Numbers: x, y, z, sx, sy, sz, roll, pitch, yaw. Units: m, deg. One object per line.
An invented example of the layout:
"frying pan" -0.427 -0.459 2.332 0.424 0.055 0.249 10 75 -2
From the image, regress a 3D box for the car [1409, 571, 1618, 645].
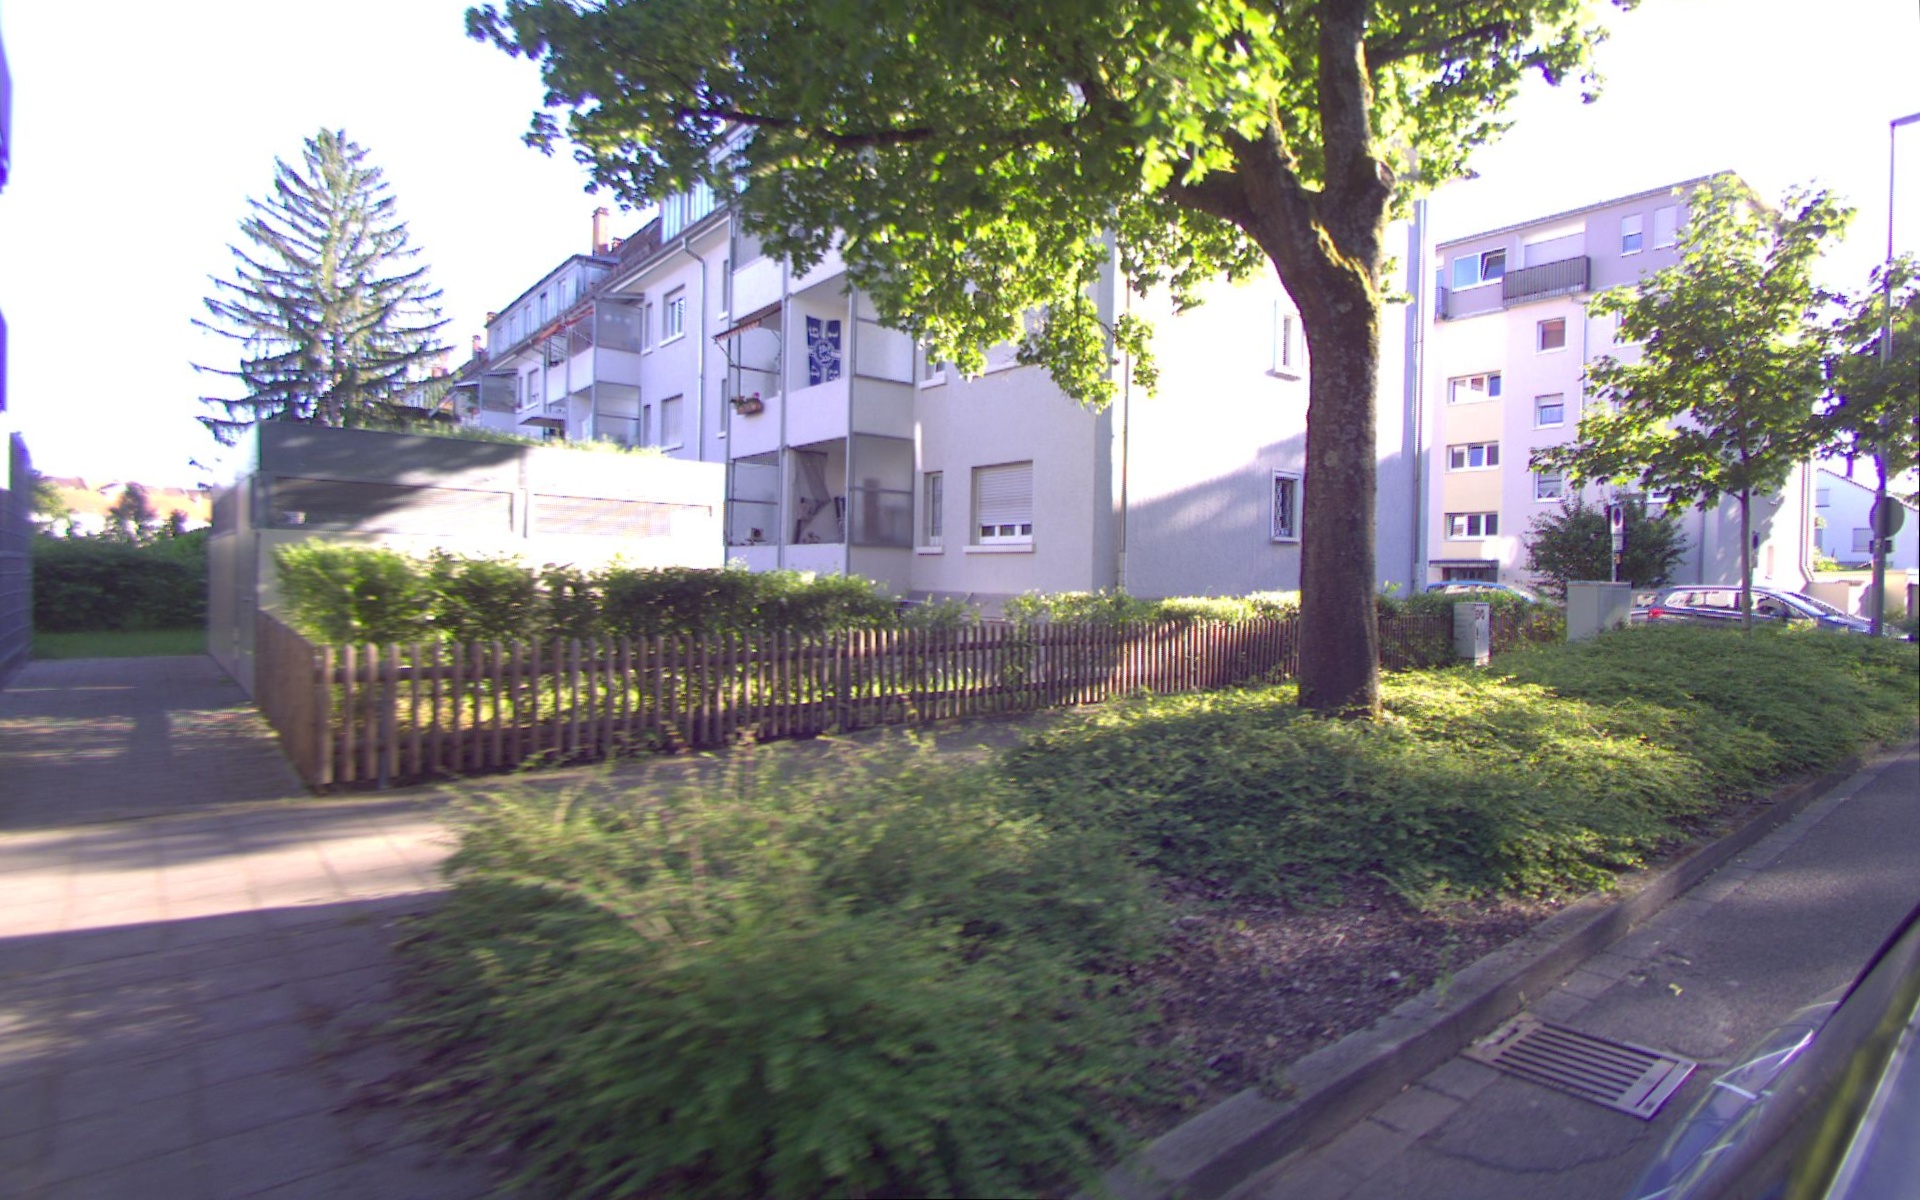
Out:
"car" 13.114 0.151 24.160 1.778 1.601 3.995 1 0 -40

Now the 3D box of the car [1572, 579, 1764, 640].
"car" 19.520 0.219 28.043 1.696 1.533 4.050 -2 2 -39

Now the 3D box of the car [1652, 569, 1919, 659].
"car" 17.421 0.277 21.374 1.735 1.695 4.280 0 0 -33
